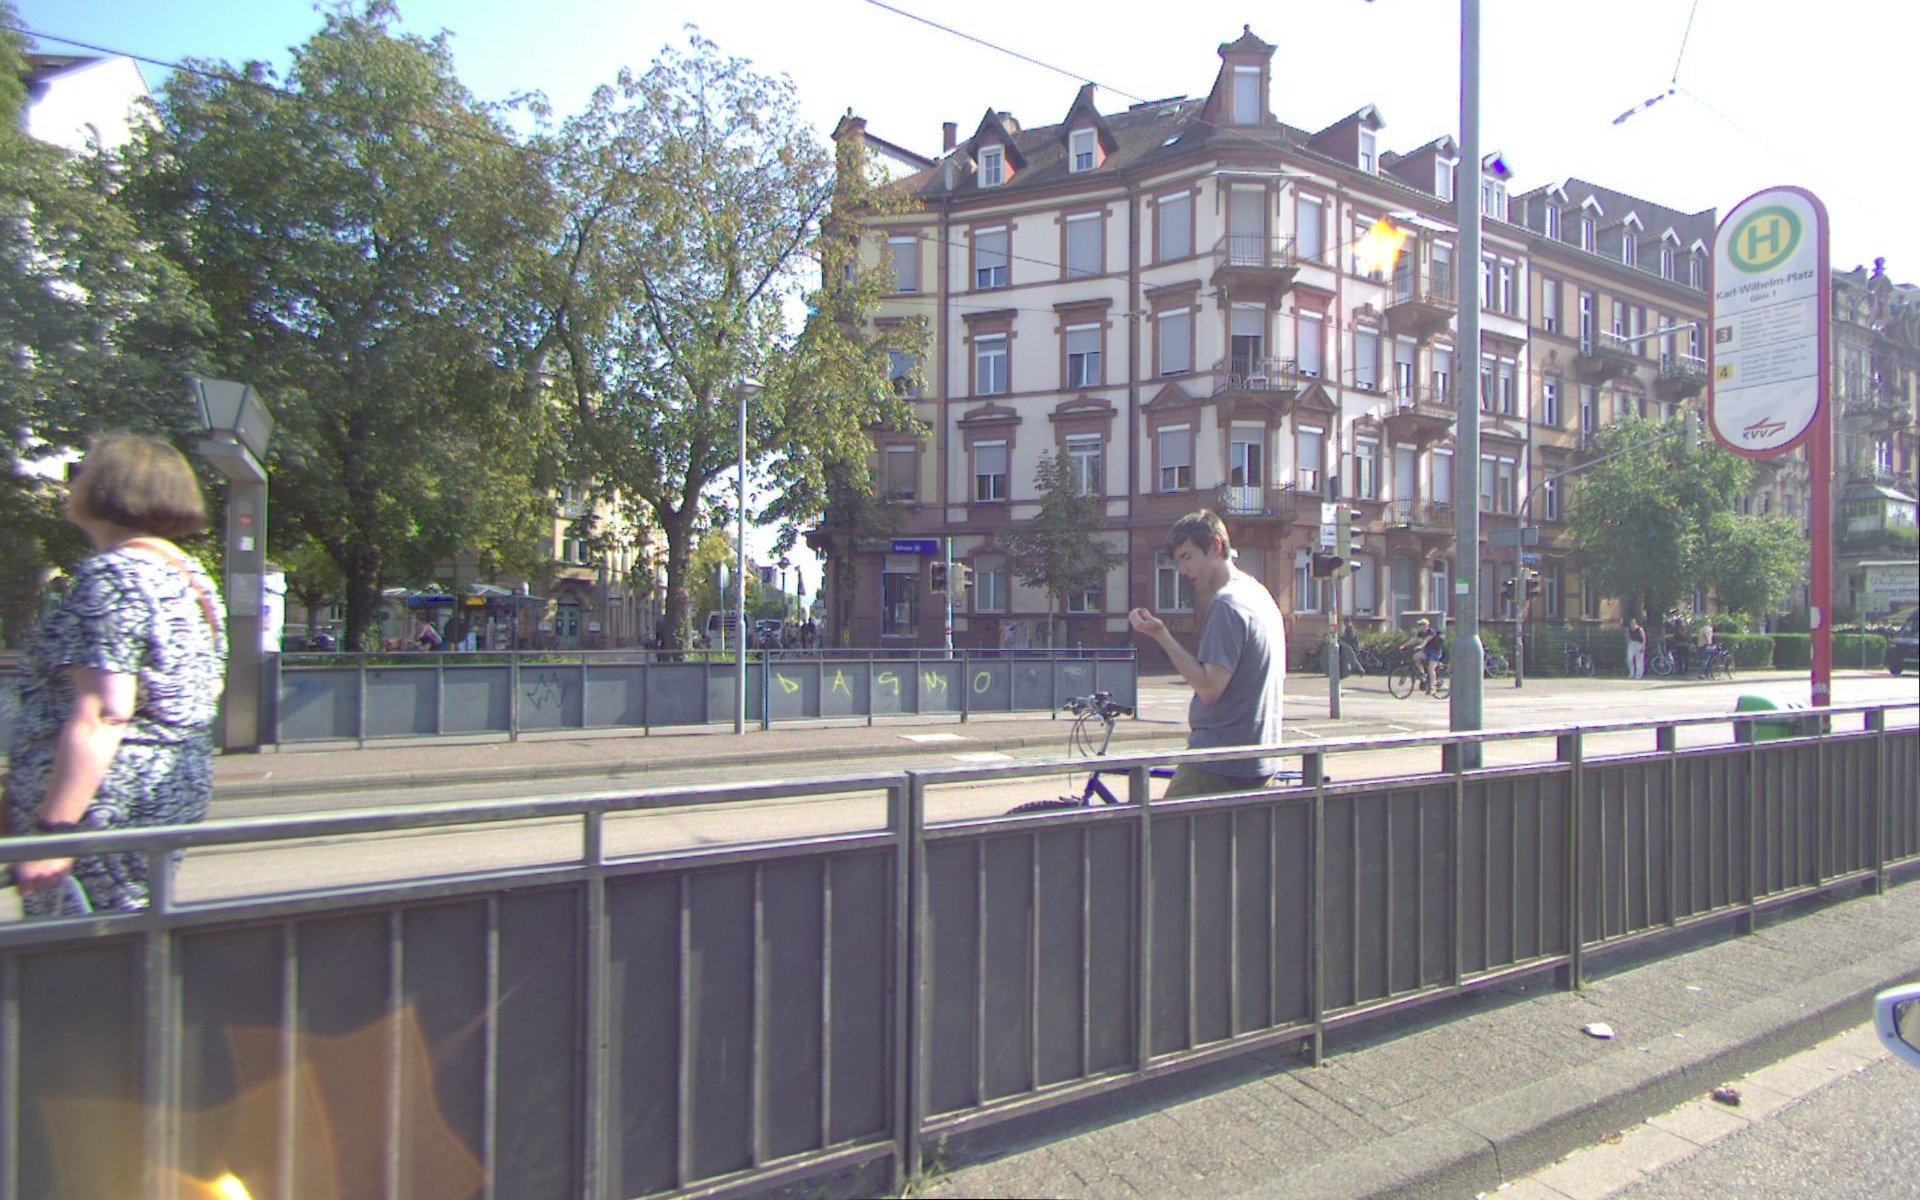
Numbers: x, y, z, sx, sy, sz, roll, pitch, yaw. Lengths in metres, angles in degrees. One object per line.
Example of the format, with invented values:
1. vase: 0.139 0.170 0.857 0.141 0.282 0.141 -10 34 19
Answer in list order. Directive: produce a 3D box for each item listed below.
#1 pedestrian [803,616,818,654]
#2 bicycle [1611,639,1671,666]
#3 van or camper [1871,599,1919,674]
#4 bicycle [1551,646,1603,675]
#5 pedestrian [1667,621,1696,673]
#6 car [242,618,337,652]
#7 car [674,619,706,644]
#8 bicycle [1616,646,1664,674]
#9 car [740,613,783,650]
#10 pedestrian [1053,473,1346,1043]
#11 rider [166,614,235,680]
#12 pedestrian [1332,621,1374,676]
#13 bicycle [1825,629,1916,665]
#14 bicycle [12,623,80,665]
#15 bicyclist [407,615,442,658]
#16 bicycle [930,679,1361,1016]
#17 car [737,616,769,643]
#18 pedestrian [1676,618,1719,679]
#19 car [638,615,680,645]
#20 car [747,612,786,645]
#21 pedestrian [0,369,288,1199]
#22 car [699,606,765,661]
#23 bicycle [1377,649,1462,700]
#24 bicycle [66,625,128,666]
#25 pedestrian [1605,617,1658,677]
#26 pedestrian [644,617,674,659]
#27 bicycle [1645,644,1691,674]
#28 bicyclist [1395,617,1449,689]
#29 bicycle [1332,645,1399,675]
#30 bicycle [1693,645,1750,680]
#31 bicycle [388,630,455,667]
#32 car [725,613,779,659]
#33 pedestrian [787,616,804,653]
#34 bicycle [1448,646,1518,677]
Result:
1. pedestrian: -7.216 1.679 48.502 0.654 1.789 0.858 1 -1 -5
2. bicycle: 23.481 1.796 34.658 0.521 0.871 1.690 1 -1 -29
3. van or camper: 36.583 1.389 37.094 6.003 2.679 2.046 2 -2 -23
4. bicycle: 19.113 1.865 31.102 1.804 0.871 0.524 1 -1 -27
5. pedestrian: 23.809 1.536 33.141 0.629 1.700 0.631 1 -2 -41
6. car: -37.960 1.971 56.965 3.926 1.873 1.998 1 -1 -8
7. car: -23.375 2.707 87.057 2.041 2.043 4.588 1 -1 -7
8. bicycle: 21.797 1.913 32.186 1.680 0.871 0.524 1 -1 -27
9. car: -11.293 1.786 57.367 2.041 2.043 4.588 1 -1 -7
10. pedestrian: 0.862 0.506 3.660 0.787 1.789 0.686 1 -1 -31
11. rider: -18.197 1.104 24.101 1.099 1.531 0.991 1 -1 -26
12. pedestrian: 11.448 1.406 29.293 0.926 1.591 0.842 0 -1 4
13. bicycle: 40.295 2.043 44.493 0.988 1.474 2.855 1 -1 -35
14. bicycle: -25.274 1.204 27.806 0.647 1.118 2.082 1 -1 -21
15. bicyclist: -17.182 1.163 32.247 0.642 1.378 0.759 0 -1 14
16. bicycle: 0.765 0.897 4.019 1.712 1.118 0.471 1 -1 -22
17. car: -16.294 2.346 79.089 2.041 2.043 4.588 1 -1 -7
18. pedestrian: 22.791 1.486 31.056 1.081 1.830 0.724 1 -1 -31
19. car: -21.447 2.131 71.764 2.041 2.043 4.588 1 -1 -7
20. car: -12.262 1.805 63.916 2.041 2.043 4.588 1 -1 -7
21. pedestrian: -1.919 0.473 2.196 0.673 1.784 0.764 1 -1 -31
22. car: -8.990 1.306 39.966 2.041 2.043 4.588 1 -1 -7
23. bicycle: 10.634 1.707 23.224 2.043 1.118 0.681 1 -1 -28
24. bicycle: -24.220 1.256 28.231 0.647 1.118 2.082 1 -1 -21
25. pedestrian: 20.627 1.437 30.862 1.170 1.789 0.902 1 -1 -26
26. pedestrian: -11.546 1.437 38.588 0.980 1.574 1.112 1 0 -11
27. bicycle: 23.257 1.924 33.006 1.680 0.940 0.524 1 -1 -27
28. bicyclist: 10.695 1.219 23.258 1.031 1.635 0.670 1 -1 -28
29. bicycle: 12.216 1.802 30.285 1.791 0.871 0.528 0 -1 9
30. bicycle: 23.364 1.908 30.803 2.125 1.020 0.615 1 -2 -31
31. bicycle: -17.206 1.537 32.156 0.642 1.118 2.074 0 -1 14
32. car: -9.775 1.677 47.551 2.041 2.043 4.588 1 -1 -7
33. pedestrian: -7.915 1.656 48.484 0.721 1.789 0.858 1 -1 -5
34. bicycle: 15.571 1.836 29.937 1.791 0.871 0.528 0 -1 9
